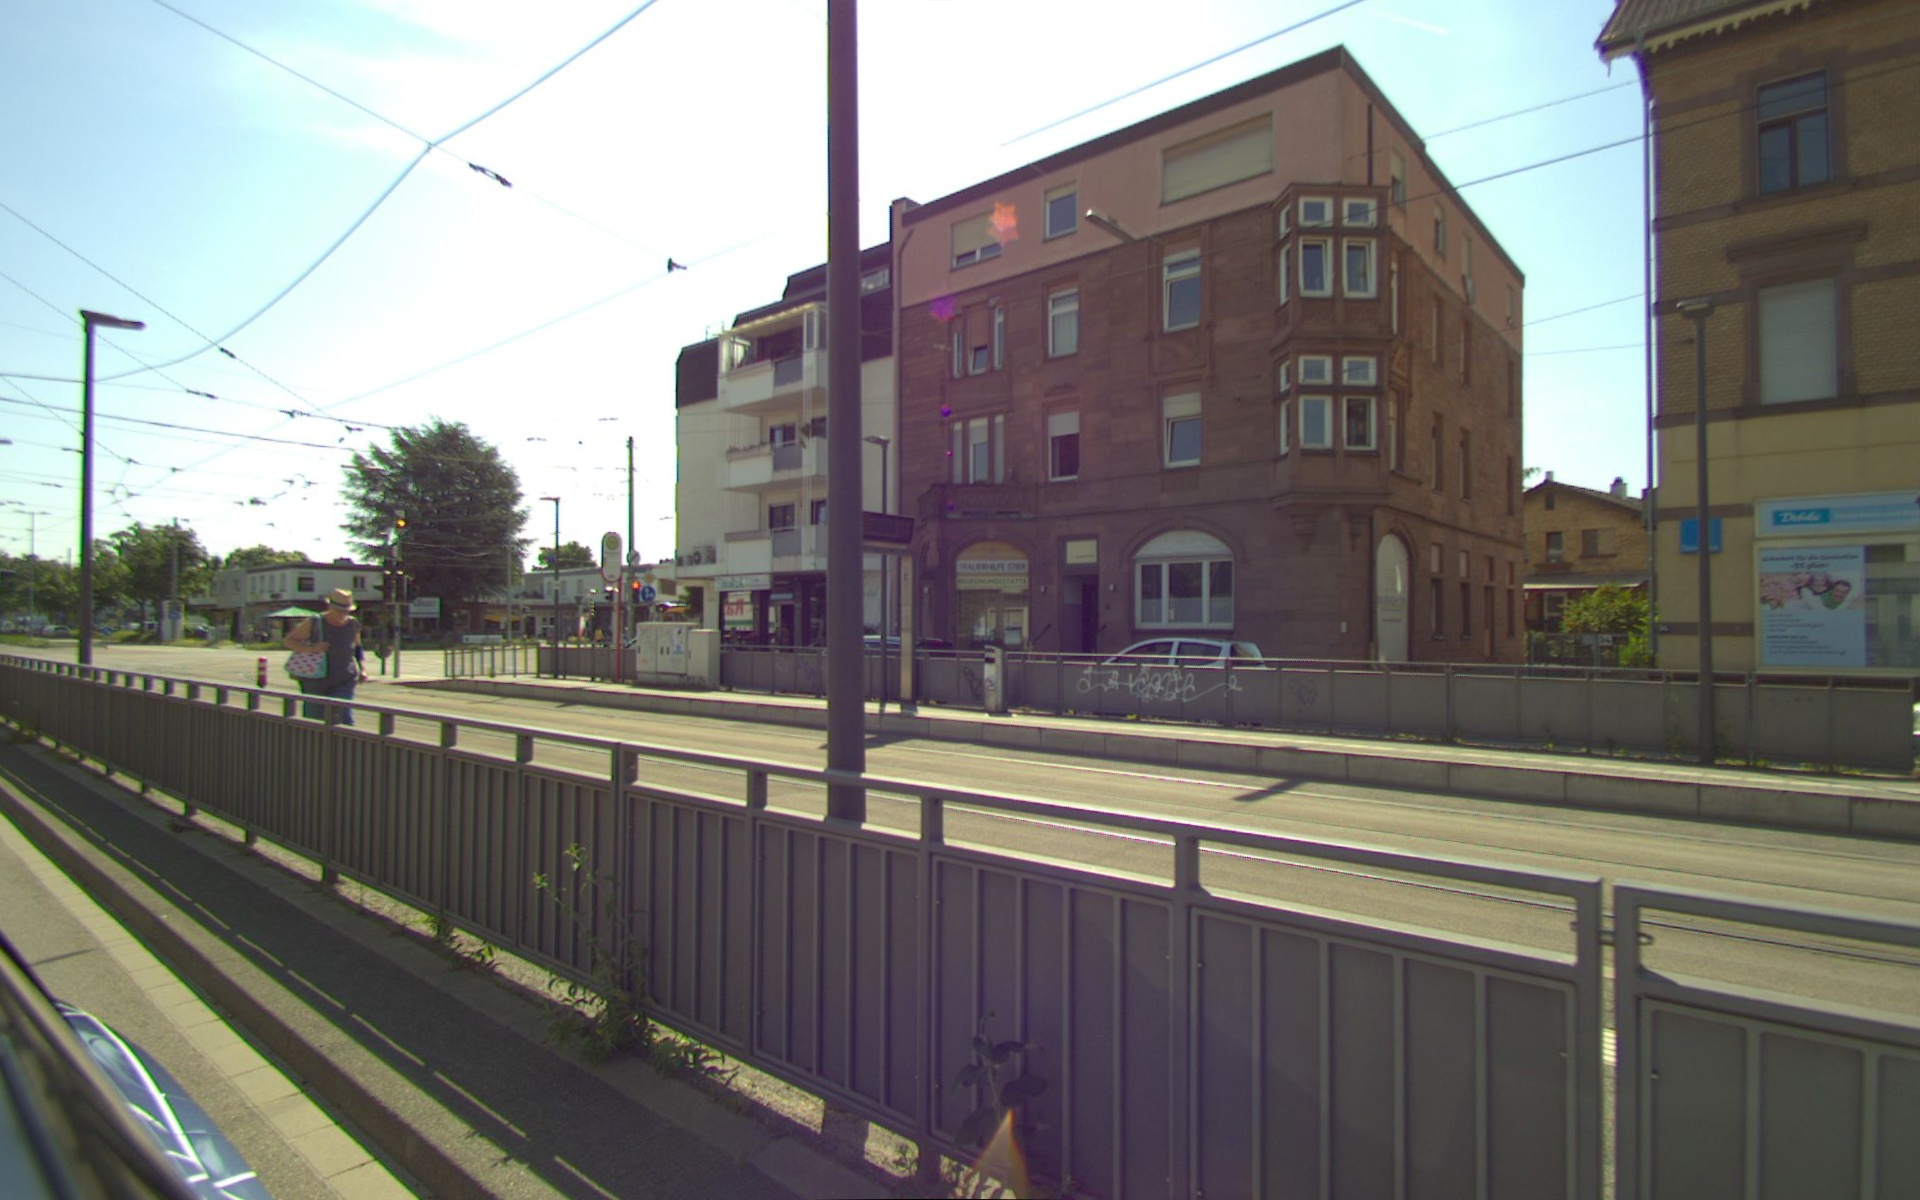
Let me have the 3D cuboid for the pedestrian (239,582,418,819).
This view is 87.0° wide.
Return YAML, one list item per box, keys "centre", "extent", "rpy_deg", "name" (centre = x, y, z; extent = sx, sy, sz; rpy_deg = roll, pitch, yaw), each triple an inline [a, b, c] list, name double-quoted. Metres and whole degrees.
- centre: [-5.502, 0.822, 8.813]
  extent: [1.237, 1.873, 0.970]
  rpy_deg: [-2, -3, 41]
  name: "pedestrian"

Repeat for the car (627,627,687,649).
- centre: [-25.274, 3.164, 84.470]
  extent: [2.000, 1.763, 4.404]
  rpy_deg: [-2, -3, 43]
  name: "car"

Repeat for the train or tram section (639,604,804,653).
- centre: [-18.128, 2.205, 78.330]
  extent: [2.688, 3.507, 13.149]
  rpy_deg: [-1, -2, 43]
  name: "train or tram section"

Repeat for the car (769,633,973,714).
- centre: [-1.985, 1.510, 21.692]
  extent: [4.469, 1.527, 1.694]
  rpy_deg: [-2, -1, 40]
  name: "car"

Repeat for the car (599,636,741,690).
- centre: [-7.859, 1.640, 27.246]
  extent: [4.076, 1.253, 1.694]
  rpy_deg: [-1, 0, 40]
  name: "car"

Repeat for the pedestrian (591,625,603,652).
- centre: [-26.169, 2.764, 72.963]
  extent: [0.602, 1.918, 0.604]
  rpy_deg: [0, -2, 16]
  name: "pedestrian"

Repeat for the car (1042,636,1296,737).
- centre: [3.417, 1.363, 16.962]
  extent: [3.863, 1.480, 1.609]
  rpy_deg: [-2, -3, 41]
  name: "car"

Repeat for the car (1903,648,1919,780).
- centre: [12.291, 1.195, 9.794]
  extent: [4.518, 1.373, 1.615]
  rpy_deg: [-1, -3, 40]
  name: "car"
